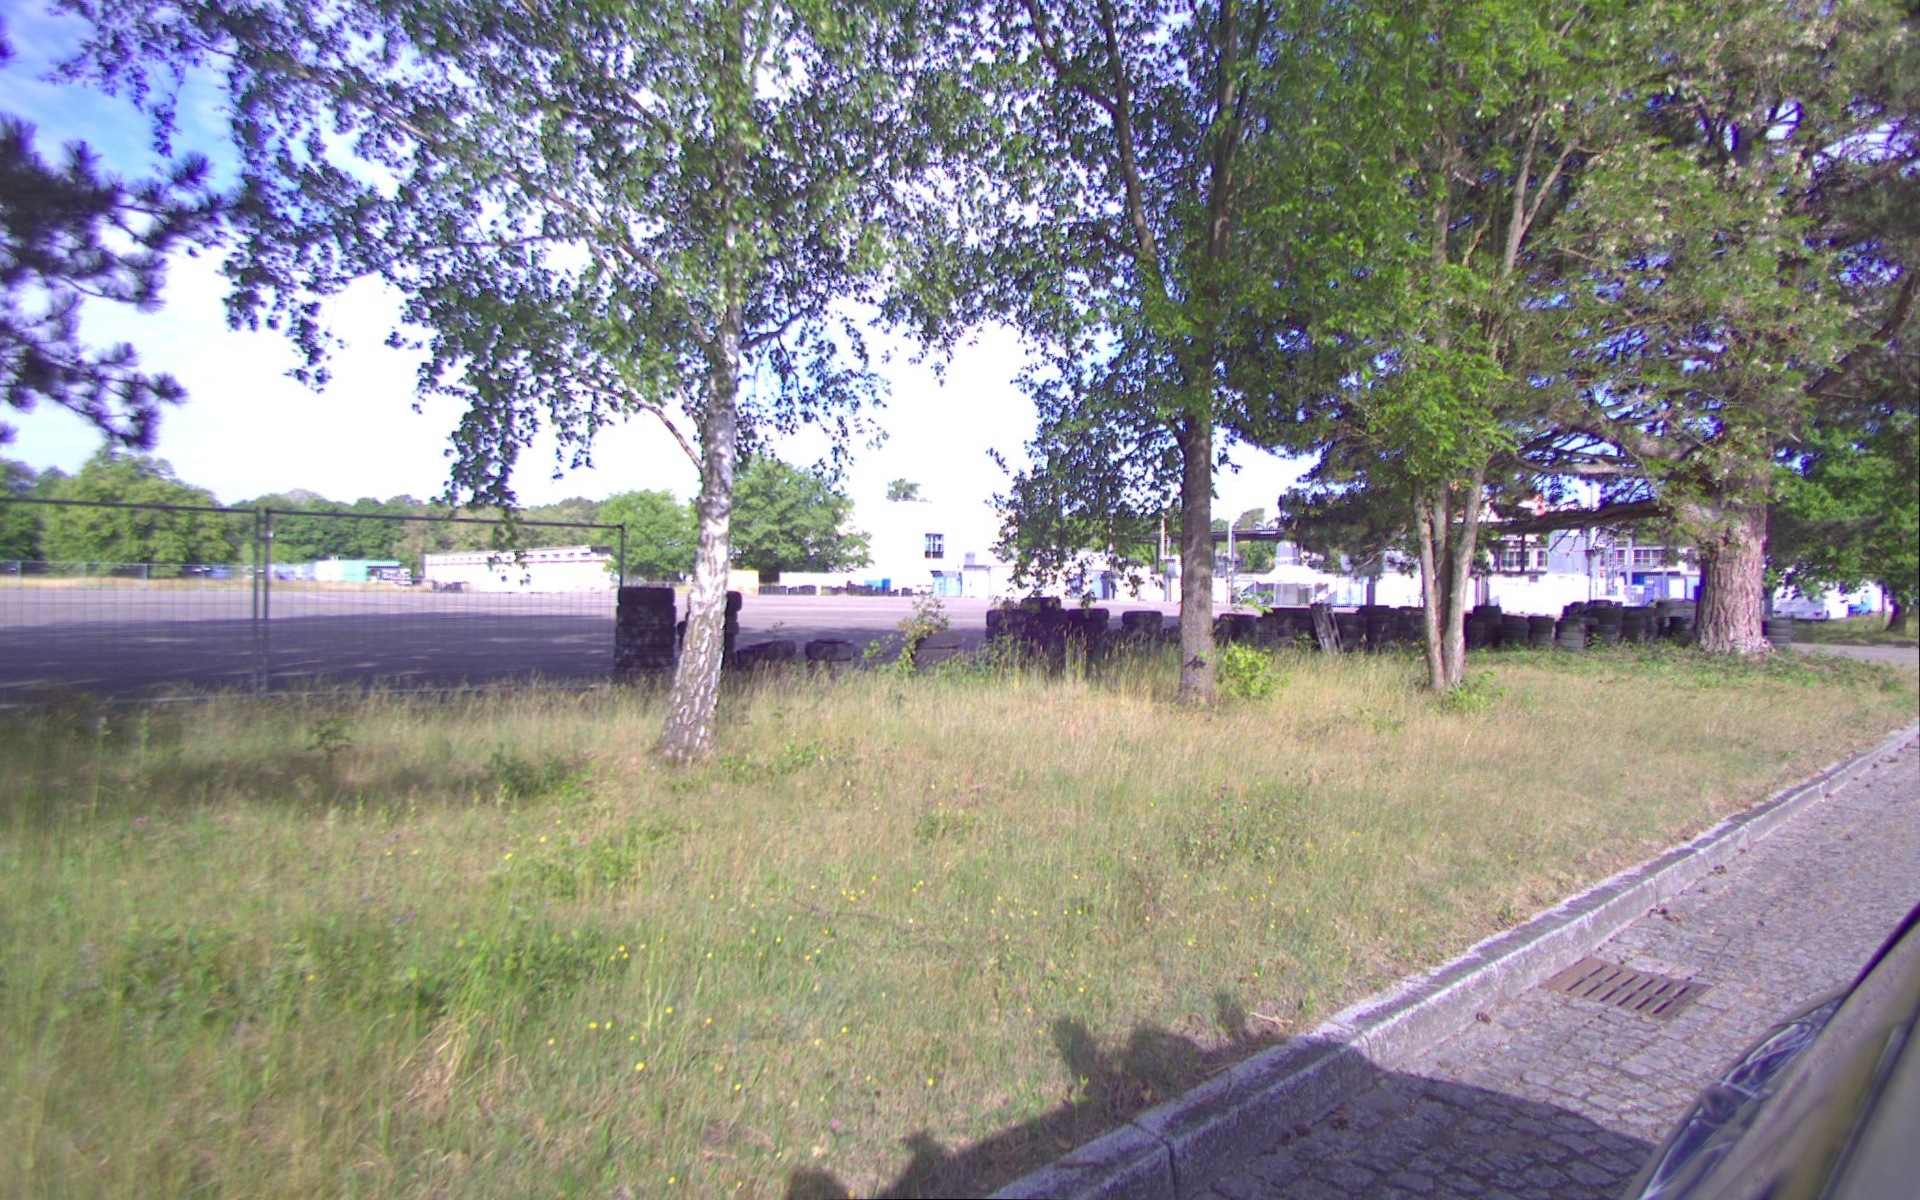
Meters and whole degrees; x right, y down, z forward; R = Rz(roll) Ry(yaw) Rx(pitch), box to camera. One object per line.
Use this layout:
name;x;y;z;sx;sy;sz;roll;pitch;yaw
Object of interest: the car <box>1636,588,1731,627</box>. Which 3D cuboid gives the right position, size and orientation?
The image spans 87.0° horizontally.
car;28.696;0.273;40.109;3.923;1.467;1.849;0;1;-35
